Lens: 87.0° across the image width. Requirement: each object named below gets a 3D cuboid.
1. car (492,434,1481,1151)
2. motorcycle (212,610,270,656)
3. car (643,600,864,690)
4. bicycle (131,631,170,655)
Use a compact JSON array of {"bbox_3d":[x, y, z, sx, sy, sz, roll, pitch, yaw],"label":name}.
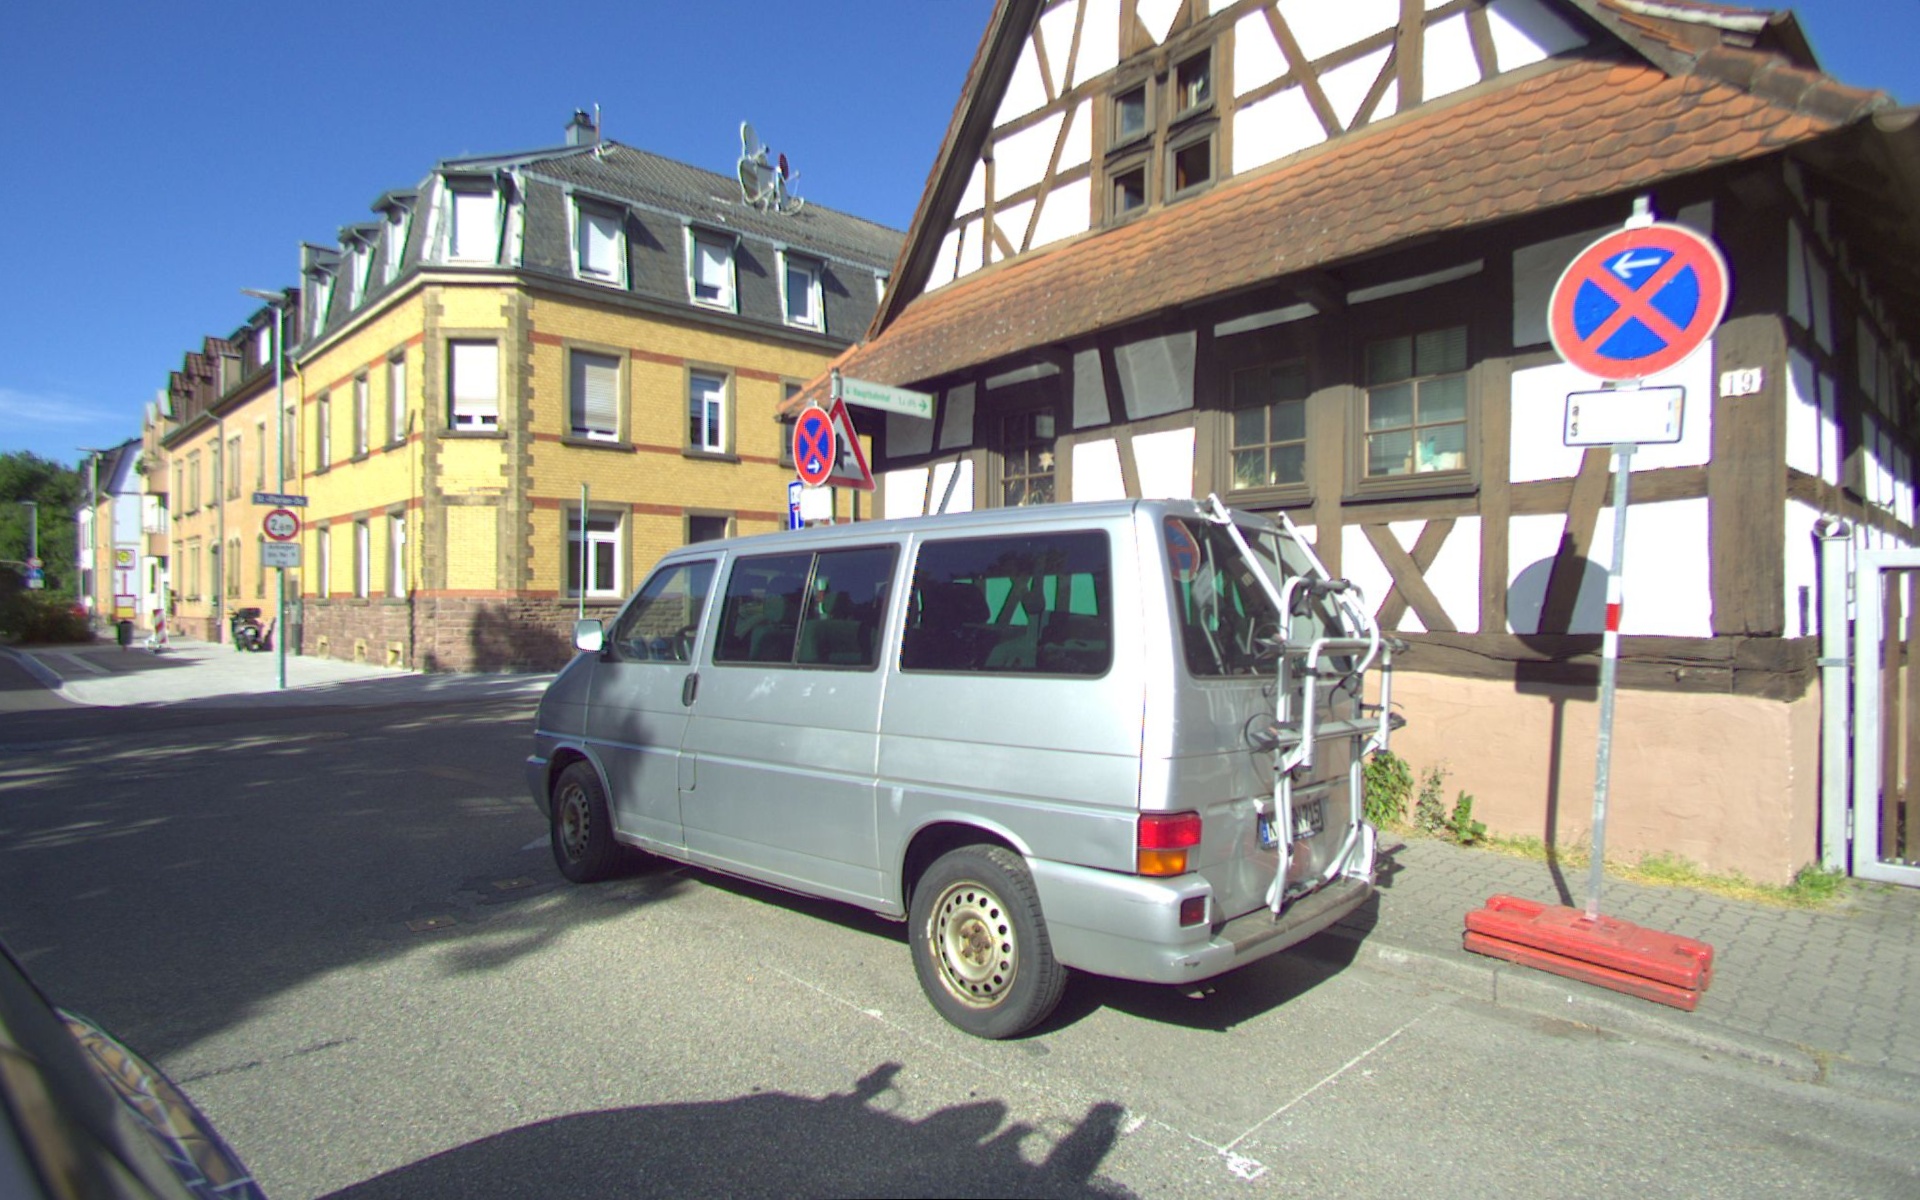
[{"bbox_3d":[-0.310,0.517,4.997,4.834,1.895,1.855,0,-1,42],"label":"car"},{"bbox_3d":[-21.109,0.946,29.709,2.256,1.261,0.837,0,3,41],"label":"motorcycle"},{"bbox_3d":[-4.080,0.840,20.274,3.951,1.555,1.720,1,2,-38],"label":"car"},{"bbox_3d":[-24.188,1.285,30.260,0.377,0.614,1.346,-2,2,-16],"label":"bicycle"}]
